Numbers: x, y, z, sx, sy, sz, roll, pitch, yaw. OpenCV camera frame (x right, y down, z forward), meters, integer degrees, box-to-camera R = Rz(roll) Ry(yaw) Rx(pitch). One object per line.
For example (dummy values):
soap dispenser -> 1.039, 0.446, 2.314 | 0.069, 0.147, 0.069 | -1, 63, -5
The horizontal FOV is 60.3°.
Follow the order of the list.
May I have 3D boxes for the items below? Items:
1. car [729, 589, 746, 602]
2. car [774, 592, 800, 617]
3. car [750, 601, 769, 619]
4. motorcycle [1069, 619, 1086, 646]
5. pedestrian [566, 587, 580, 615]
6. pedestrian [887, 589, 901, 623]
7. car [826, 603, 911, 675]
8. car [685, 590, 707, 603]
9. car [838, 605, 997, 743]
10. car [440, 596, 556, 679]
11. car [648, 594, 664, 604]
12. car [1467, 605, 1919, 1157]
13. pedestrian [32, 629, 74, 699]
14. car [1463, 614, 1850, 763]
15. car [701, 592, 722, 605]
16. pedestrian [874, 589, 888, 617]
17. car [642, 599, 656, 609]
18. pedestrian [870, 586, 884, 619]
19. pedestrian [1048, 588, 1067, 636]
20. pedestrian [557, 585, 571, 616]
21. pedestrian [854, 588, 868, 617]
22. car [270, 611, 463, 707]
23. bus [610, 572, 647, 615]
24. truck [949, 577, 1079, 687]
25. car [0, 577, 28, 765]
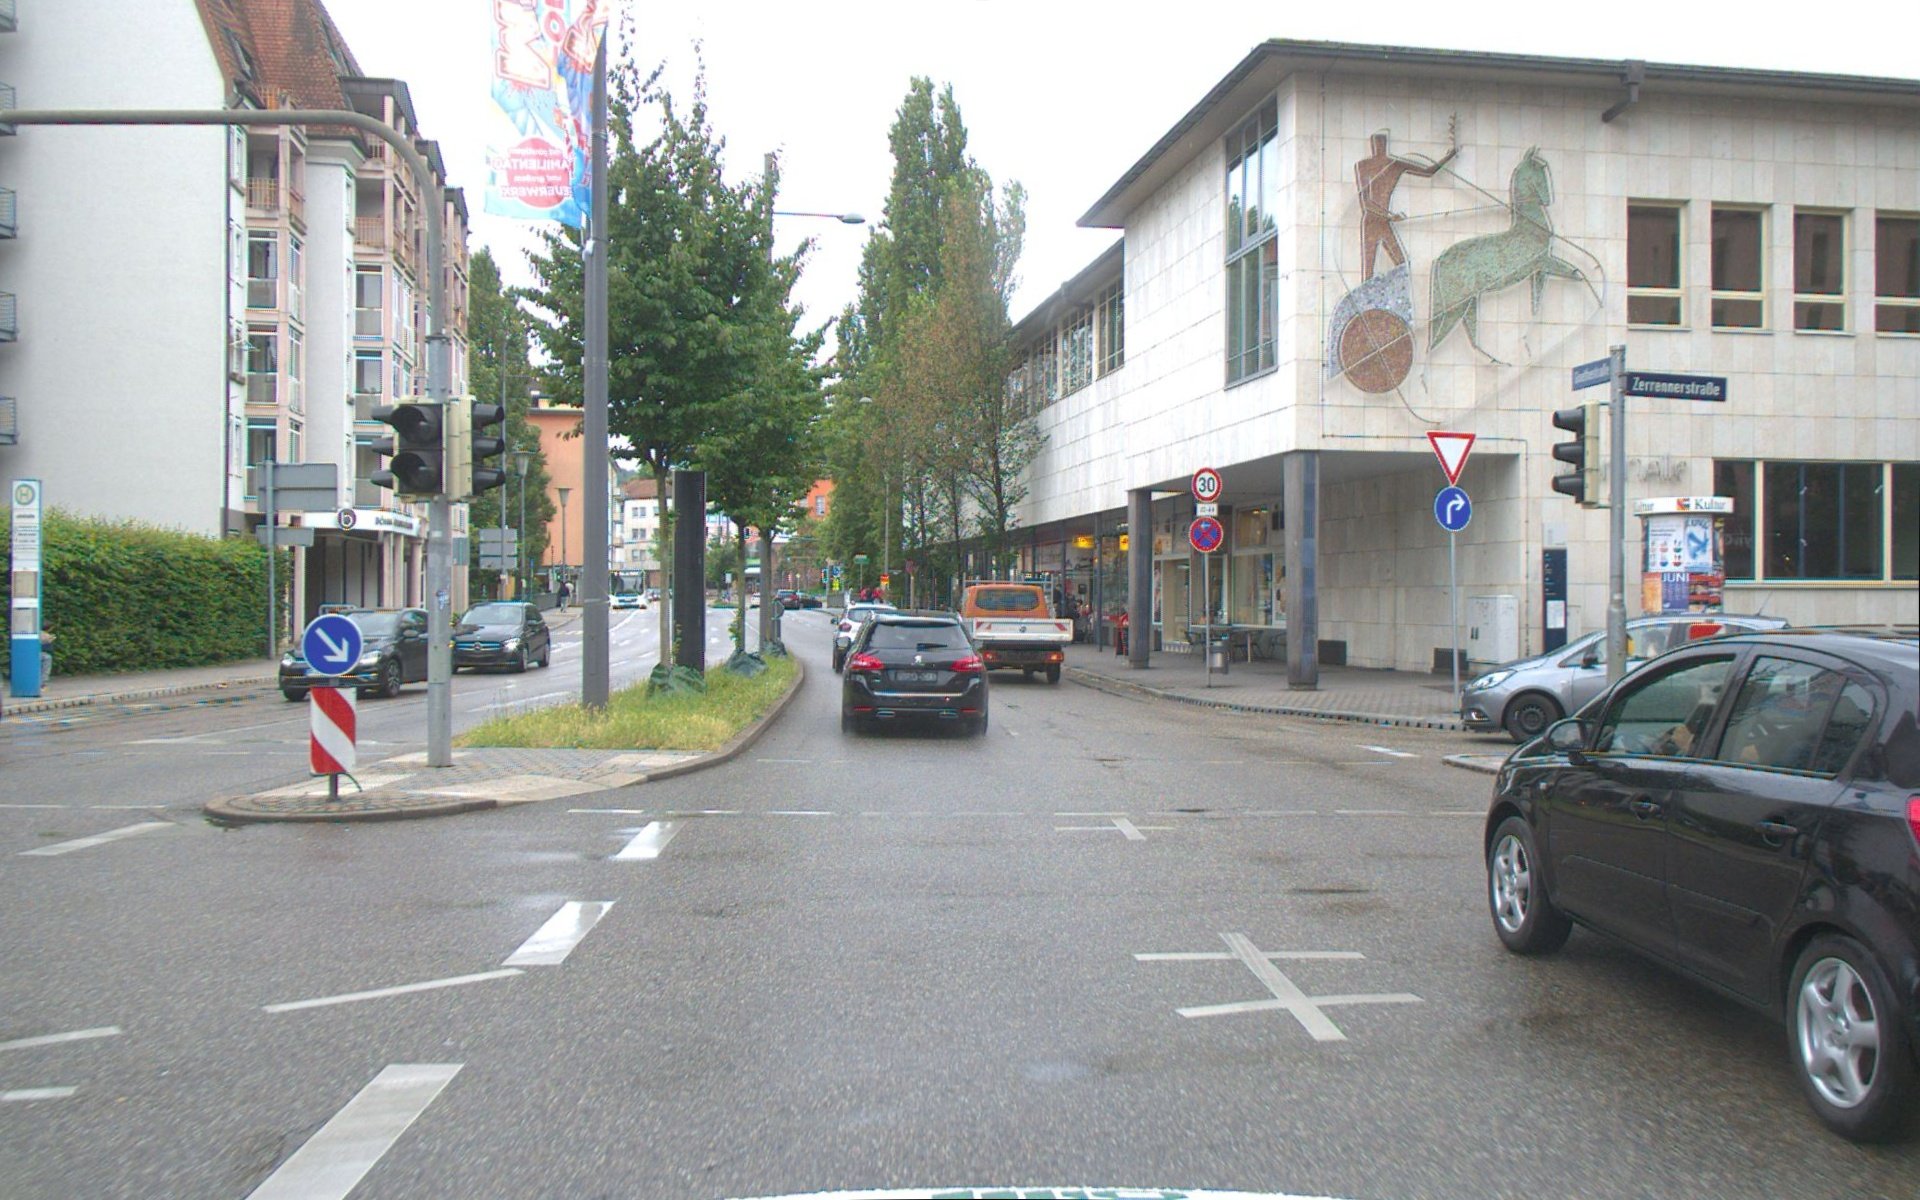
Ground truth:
car -> -29.691, -0.600, 220.721 | 1.959, 1.713, 3.987 | 0, 0, -12
car -> -12.569, 0.317, 120.009 | 1.614, 1.592, 3.591 | 3, -3, -9
car -> -19.184, 0.961, 158.409 | 1.614, 1.592, 3.591 | 3, -3, -9
motorcycle -> 3.700, 1.015, 52.228 | 0.318, 0.818, 0.918 | -1, 1, -9
pedestrian -> -25.359, 0.076, 108.346 | 0.782, 1.825, 0.811 | 1, -1, -7
pedestrian -> -3.628, 0.328, 90.627 | 0.685, 1.833, 0.605 | -1, 0, -10
car -> -2.031, 0.814, 36.393 | 1.759, 1.509, 3.997 | 0, 0, -4
car -> -36.271, -0.514, 227.525 | 1.630, 1.592, 3.557 | 4, -3, -34
car -> -0.499, 0.871, 20.733 | 1.758, 1.509, 3.999 | 2, -1, -1
car -> -10.603, 0.829, 38.251 | 1.792, 1.766, 4.254 | -2, 0, -5
car -> -41.408, -0.168, 225.294 | 1.761, 1.348, 4.389 | 0, 0, -15
car -> 3.349, 0.786, 5.972 | 1.674, 1.482, 3.740 | 2, 0, -3
pedestrian -> -15.427, 1.078, 28.136 | 0.459, 1.170, 0.501 | 0, 0, -6
car -> 7.941, 0.960, 19.112 | 3.905, 1.503, 2.000 | 1, -1, 22
car -> -34.830, -0.210, 231.788 | 1.630, 1.592, 3.557 | 4, -3, -34
pedestrian -> -4.622, 0.146, 96.972 | 0.712, 1.617, 0.605 | -1, 0, -10
car -> -41.070, 0.513, 218.475 | 1.759, 1.348, 4.396 | 0, 0, -10
pedestrian -> -4.545, 0.129, 90.496 | 0.641, 1.798, 0.921 | -1, 0, -10
pedestrian -> 3.241, 0.391, 54.858 | 0.422, 1.594, 0.507 | 0, 0, 36
pedestrian -> -23.486, 0.009, 98.063 | 0.685, 1.825, 0.957 | 1, -1, -6
pedestrian -> -5.848, 0.145, 97.318 | 0.704, 1.648, 0.767 | -1, 0, -10
car -> -9.912, 0.957, 27.939 | 1.721, 1.445, 4.097 | -2, -1, 1
bus -> -25.852, -0.581, 129.218 | 2.695, 3.129, 12.205 | 0, 1, -11
truck -> 1.028, 0.655, 34.238 | 2.081, 2.061, 4.709 | 1, -1, -6
car -> -9.942, 0.655, 13.795 | 1.789, 1.766, 4.311 | -1, -1, 2
